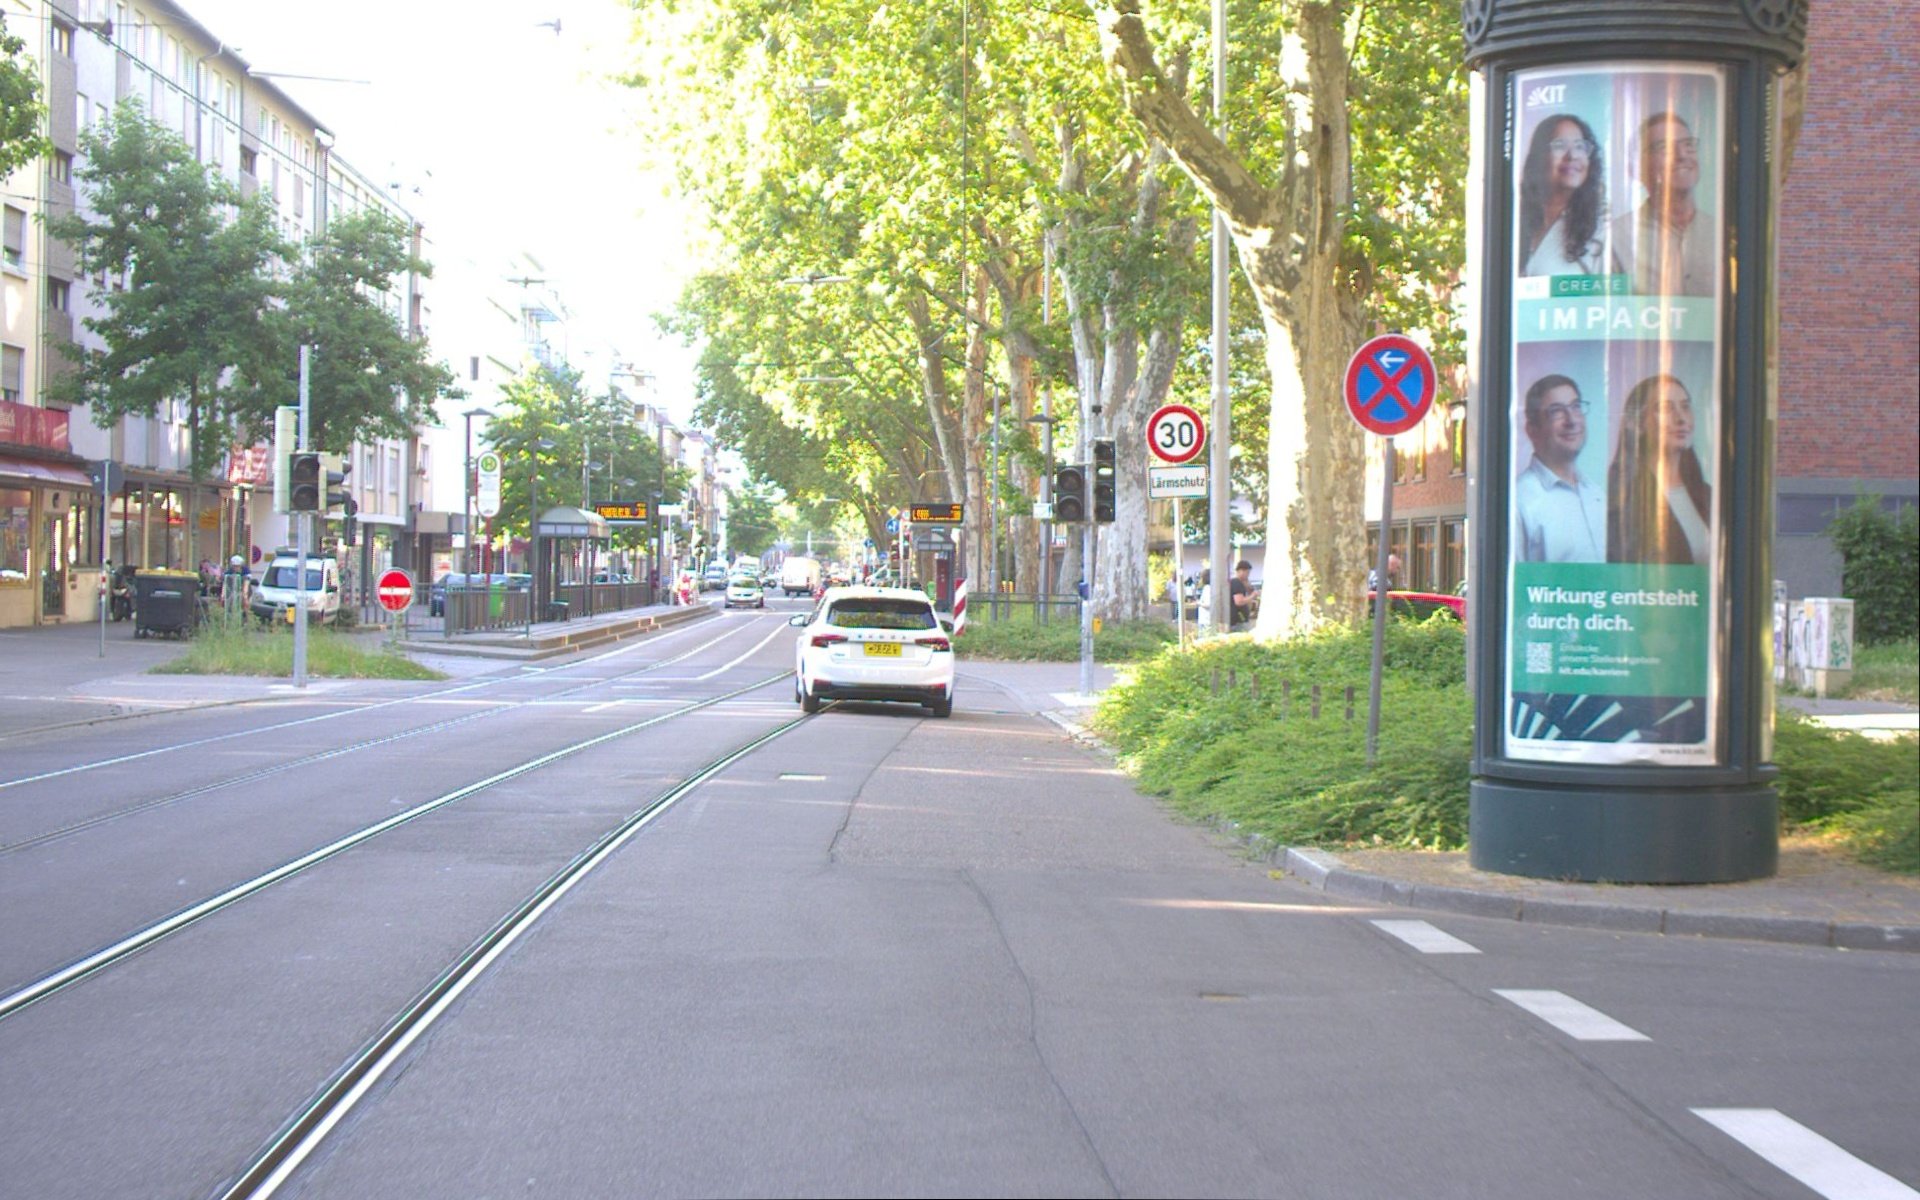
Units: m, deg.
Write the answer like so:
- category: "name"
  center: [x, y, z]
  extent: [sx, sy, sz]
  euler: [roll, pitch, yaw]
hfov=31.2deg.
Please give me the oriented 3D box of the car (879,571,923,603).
- category: "car"
  center: [-2.787, -0.616, 161.446]
  extent: [1.993, 1.448, 4.000]
  euler: [1, 1, -2]

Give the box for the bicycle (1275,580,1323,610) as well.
- category: "bicycle"
  center: [11.721, -0.170, 118.935]
  extent: [1.567, 1.034, 0.479]
  euler: [1, 1, 19]

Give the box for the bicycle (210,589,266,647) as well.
- category: "bicycle"
  center: [-12.776, 0.311, 60.842]
  extent: [0.641, 0.983, 2.101]
  euler: [0, 1, -3]

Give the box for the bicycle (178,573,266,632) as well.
- category: "bicycle"
  center: [-14.750, 0.047, 68.723]
  extent: [1.533, 1.071, 0.885]
  euler: [4, 1, -3]

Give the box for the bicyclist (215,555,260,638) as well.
- category: "bicyclist"
  center: [-12.786, -0.066, 60.848]
  extent: [0.641, 1.450, 0.837]
  euler: [0, 1, -3]

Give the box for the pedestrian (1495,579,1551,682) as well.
- category: "pedestrian"
  center: [9.208, 0.487, 56.251]
  extent: [0.735, 1.663, 0.835]
  euler: [1, 0, -3]

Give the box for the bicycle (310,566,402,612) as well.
- category: "bicycle"
  center: [-16.013, -0.293, 91.189]
  extent: [2.253, 1.070, 0.636]
  euler: [4, 0, -1]

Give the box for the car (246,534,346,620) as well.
- category: "car"
  center: [-15.400, -0.544, 79.894]
  extent: [1.688, 1.933, 4.000]
  euler: [1, 1, -2]

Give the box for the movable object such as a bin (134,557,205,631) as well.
- category: "movable object such as a bin"
  center: [-15.320, -0.118, 66.633]
  extent: [1.169, 1.344, 0.783]
  euler: [4, 0, -6]

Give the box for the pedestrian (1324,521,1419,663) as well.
- category: "pedestrian"
  center: [5.550, -0.118, 46.447]
  extent: [0.982, 1.857, 1.016]
  euler: [-3, 1, -7]

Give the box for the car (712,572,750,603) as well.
- category: "car"
  center: [-10.913, -0.605, 163.805]
  extent: [1.693, 1.414, 4.000]
  euler: [1, 1, -2]

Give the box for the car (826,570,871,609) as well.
- category: "car"
  center: [-4.516, -0.446, 138.869]
  extent: [1.788, 1.508, 4.000]
  euler: [1, 1, -2]

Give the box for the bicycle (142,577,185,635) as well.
- category: "bicycle"
  center: [-15.756, 0.114, 68.023]
  extent: [0.498, 1.104, 1.800]
  euler: [4, 0, -5]

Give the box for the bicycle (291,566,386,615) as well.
- category: "bicycle"
  center: [-15.813, -0.243, 87.496]
  extent: [2.253, 1.070, 0.636]
  euler: [4, 0, -1]

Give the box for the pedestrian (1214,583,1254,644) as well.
- category: "pedestrian"
  center: [7.413, 0.352, 92.954]
  extent: [0.972, 1.618, 0.888]
  euler: [1, 0, -2]

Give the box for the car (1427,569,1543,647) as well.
- category: "car"
  center: [10.473, 0.139, 68.775]
  extent: [1.600, 1.490, 3.417]
  euler: [1, 1, -3]

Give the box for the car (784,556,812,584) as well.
- category: "car"
  center: [-11.128, -2.087, 237.042]
  extent: [1.866, 1.886, 4.000]
  euler: [1, 1, -2]

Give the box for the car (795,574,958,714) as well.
- category: "car"
  center: [-0.996, 0.472, 40.072]
  extent: [1.788, 1.508, 4.000]
  euler: [1, 1, -2]

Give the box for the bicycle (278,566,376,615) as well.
- category: "bicycle"
  center: [-15.798, -0.244, 85.848]
  extent: [2.253, 1.070, 0.636]
  euler: [4, 0, -1]

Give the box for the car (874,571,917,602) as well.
- category: "car"
  center: [-3.158, -0.658, 166.525]
  extent: [1.993, 1.448, 4.000]
  euler: [1, 1, -2]

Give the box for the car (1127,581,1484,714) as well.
- category: "car"
  center: [3.863, 0.521, 38.895]
  extent: [3.885, 1.418, 1.648]
  euler: [1, 0, 1]

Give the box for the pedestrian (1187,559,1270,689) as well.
- category: "pedestrian"
  center: [3.767, 0.326, 48.240]
  extent: [0.994, 1.805, 0.864]
  euler: [0, 1, -7]

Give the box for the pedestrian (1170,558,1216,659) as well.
- category: "pedestrian"
  center: [3.861, 0.140, 57.026]
  extent: [0.652, 1.663, 0.738]
  euler: [1, 0, -3]

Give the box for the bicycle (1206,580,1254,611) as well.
- category: "bicycle"
  center: [9.313, -0.168, 118.786]
  extent: [1.567, 1.034, 0.479]
  euler: [1, 1, 19]
